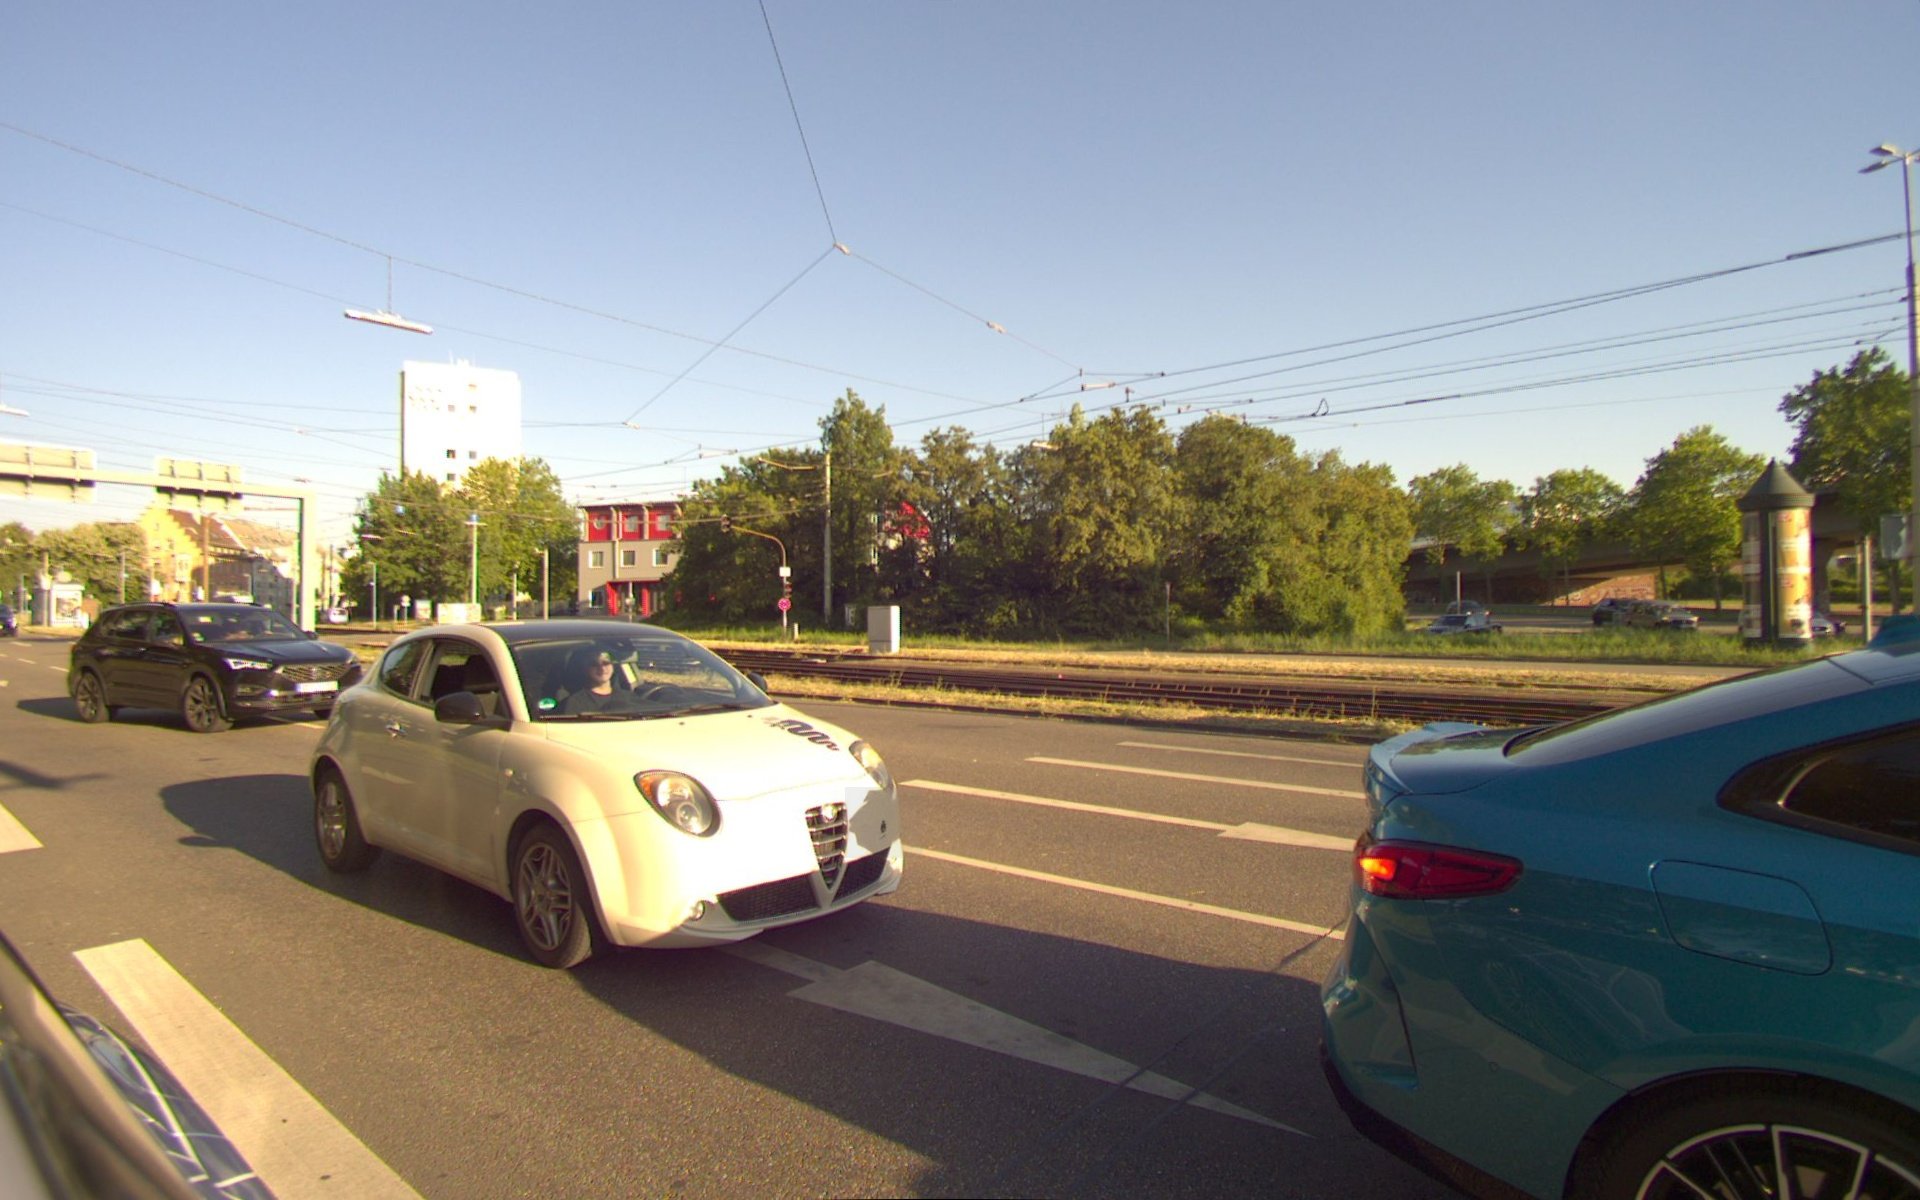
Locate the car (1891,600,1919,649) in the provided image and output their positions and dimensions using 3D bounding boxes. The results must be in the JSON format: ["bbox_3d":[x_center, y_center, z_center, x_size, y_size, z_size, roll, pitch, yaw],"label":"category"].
[{"bbox_3d":[31.803,0.773,31.679,1.676,1.586,4.748,-1,-1,12],"label":"car"}]

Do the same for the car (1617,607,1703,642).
[{"bbox_3d":[36.213,1.229,52.511,1.673,1.691,4.406,-1,-1,6],"label":"car"}]

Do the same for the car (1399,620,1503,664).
[{"bbox_3d":[20.983,1.740,43.203,4.675,1.691,1.759,0,-1,-31],"label":"car"}]

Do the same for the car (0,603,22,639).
[{"bbox_3d":[-46.896,1.013,48.790,4.272,1.674,1.882,-1,-1,39],"label":"car"}]

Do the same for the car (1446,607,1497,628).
[{"bbox_3d":[38.536,1.320,76.363,1.699,1.537,3.936,-1,-1,-1],"label":"car"}]

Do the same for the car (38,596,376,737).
[{"bbox_3d":[-10.375,0.835,13.909,4.597,1.692,1.804,-1,-1,25],"label":"car"}]

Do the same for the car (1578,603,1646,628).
[{"bbox_3d":[41.709,0.964,64.836,1.602,1.537,4.410,-1,-1,2],"label":"car"}]

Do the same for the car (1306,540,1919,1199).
[{"bbox_3d":[2.883,0.639,1.450,4.201,1.477,1.697,-2,-2,38],"label":"car"}]

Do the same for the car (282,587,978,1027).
[{"bbox_3d":[-1.992,0.770,5.462,3.997,1.517,1.719,-2,-2,40],"label":"car"}]

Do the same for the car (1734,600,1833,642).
[{"bbox_3d":[33.948,0.846,41.867,1.679,1.643,4.263,-1,-1,17],"label":"car"}]
